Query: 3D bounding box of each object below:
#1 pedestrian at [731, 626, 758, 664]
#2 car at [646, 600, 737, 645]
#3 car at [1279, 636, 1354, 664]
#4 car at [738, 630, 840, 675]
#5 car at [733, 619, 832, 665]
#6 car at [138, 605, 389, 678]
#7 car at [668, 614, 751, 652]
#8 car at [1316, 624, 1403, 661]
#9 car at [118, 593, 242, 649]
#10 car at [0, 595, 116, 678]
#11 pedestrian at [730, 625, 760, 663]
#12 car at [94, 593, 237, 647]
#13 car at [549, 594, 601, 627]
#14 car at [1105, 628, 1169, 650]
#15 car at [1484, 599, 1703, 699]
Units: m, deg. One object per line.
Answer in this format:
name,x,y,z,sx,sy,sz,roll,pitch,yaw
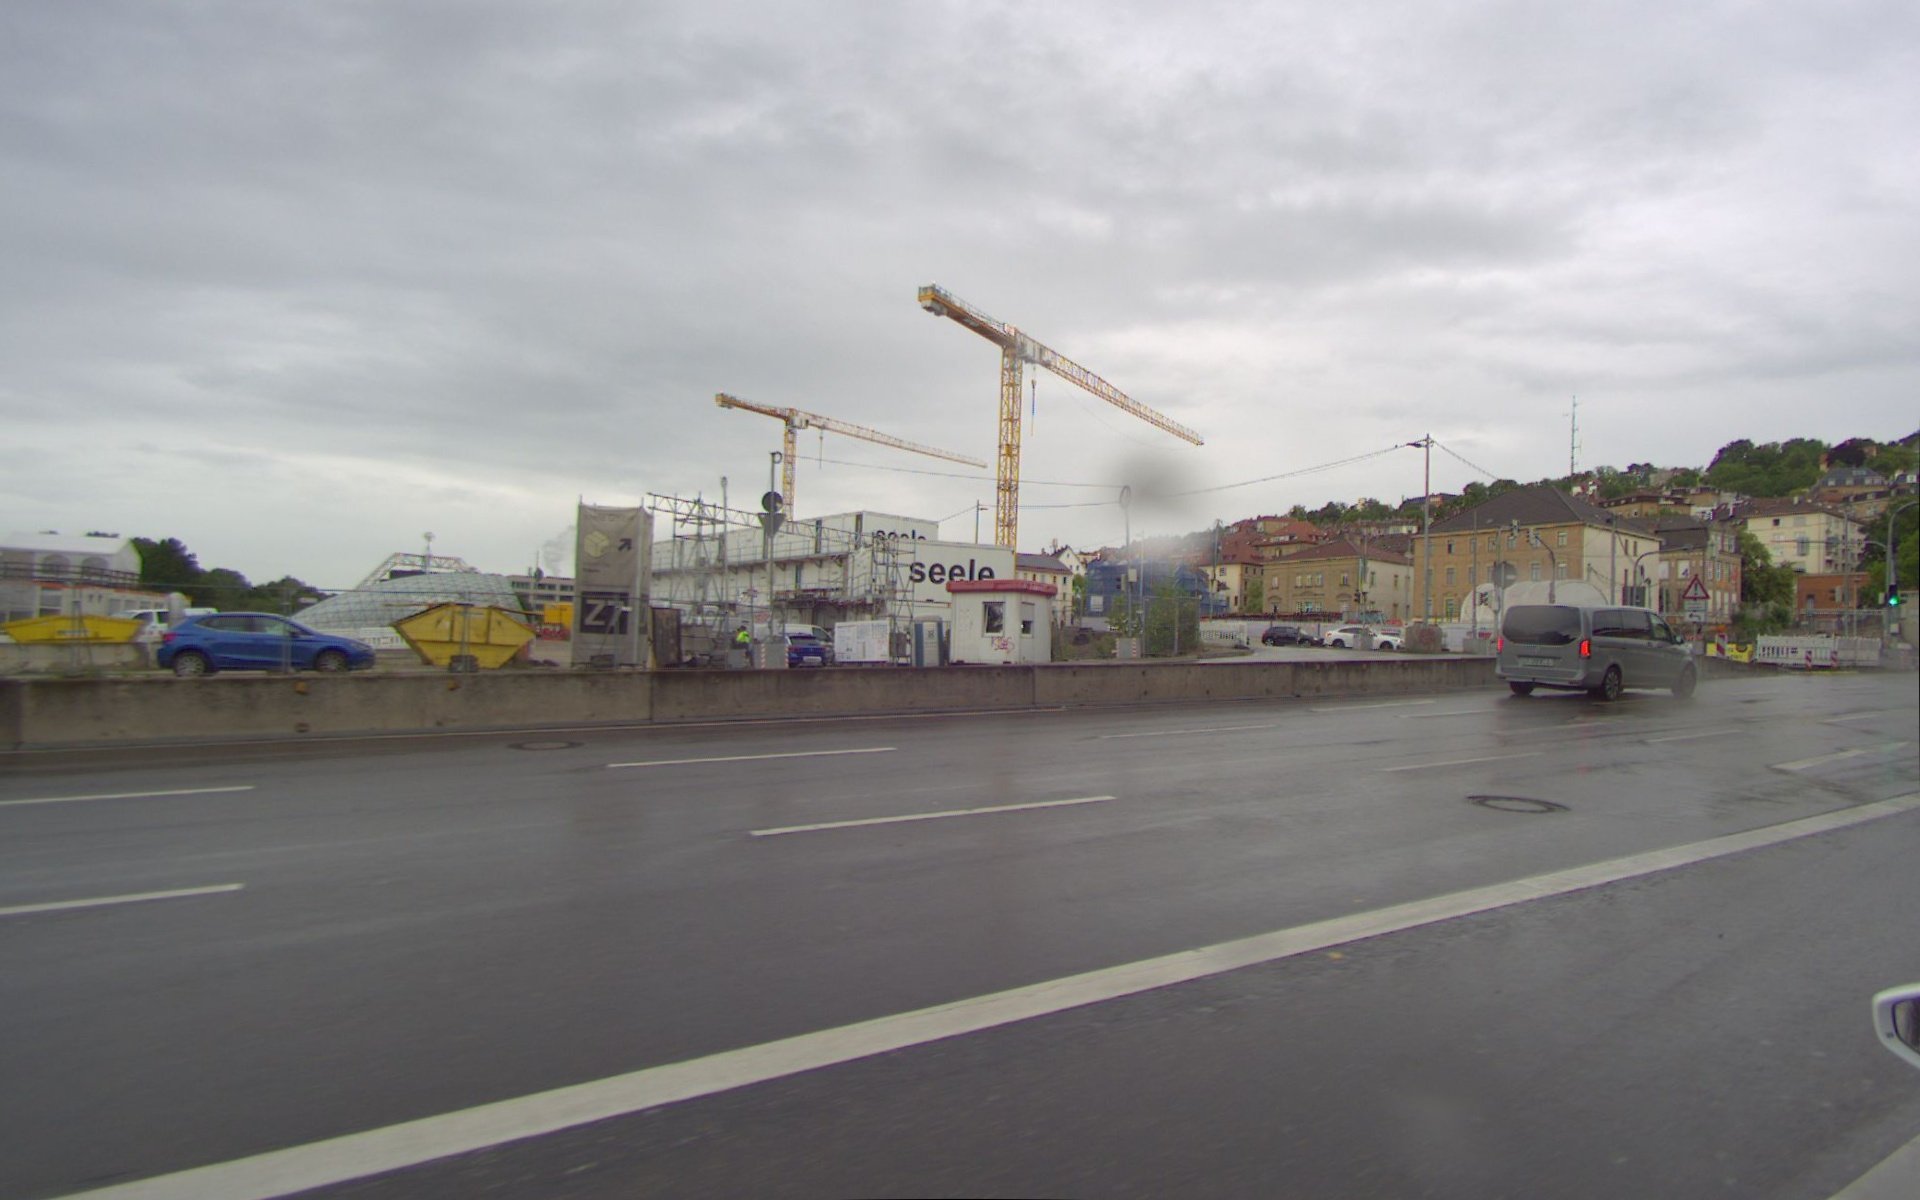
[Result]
pedestrian,-7.863,1.639,36.677,0.826,1.370,0.740,1,-1,-25
car,-16.096,1.381,60.367,4.788,2.625,2.251,2,-2,-43
car,23.439,3.262,66.091,4.350,1.740,1.994,-1,-2,35
car,-6.585,1.978,38.507,1.987,1.528,3.948,2,-1,-44
car,-7.926,1.921,45.063,3.970,1.965,1.976,3,-4,-42
car,-15.473,0.941,22.643,4.382,1.509,1.829,2,-2,-27
car,-13.741,1.835,55.236,3.970,1.965,1.976,3,-4,-42
car,22.940,2.426,57.756,4.350,2.040,1.994,-1,-2,35
car,-35.487,0.984,45.805,1.965,2.415,3.991,0,-2,32
car,-28.264,1.104,30.296,3.954,2.415,1.984,2,-2,-31
pedestrian,-8.030,1.632,37.514,0.822,1.370,0.745,0,-1,23
car,-37.498,0.965,47.565,1.961,2.415,4.948,0,-2,23
car,-29.207,0.832,76.427,2.129,2.415,4.003,1,-2,5
car,13.310,2.935,75.721,1.986,1.578,4.467,2,-3,-43
car,13.131,1.013,20.758,4.630,1.863,1.983,3,-2,-31
